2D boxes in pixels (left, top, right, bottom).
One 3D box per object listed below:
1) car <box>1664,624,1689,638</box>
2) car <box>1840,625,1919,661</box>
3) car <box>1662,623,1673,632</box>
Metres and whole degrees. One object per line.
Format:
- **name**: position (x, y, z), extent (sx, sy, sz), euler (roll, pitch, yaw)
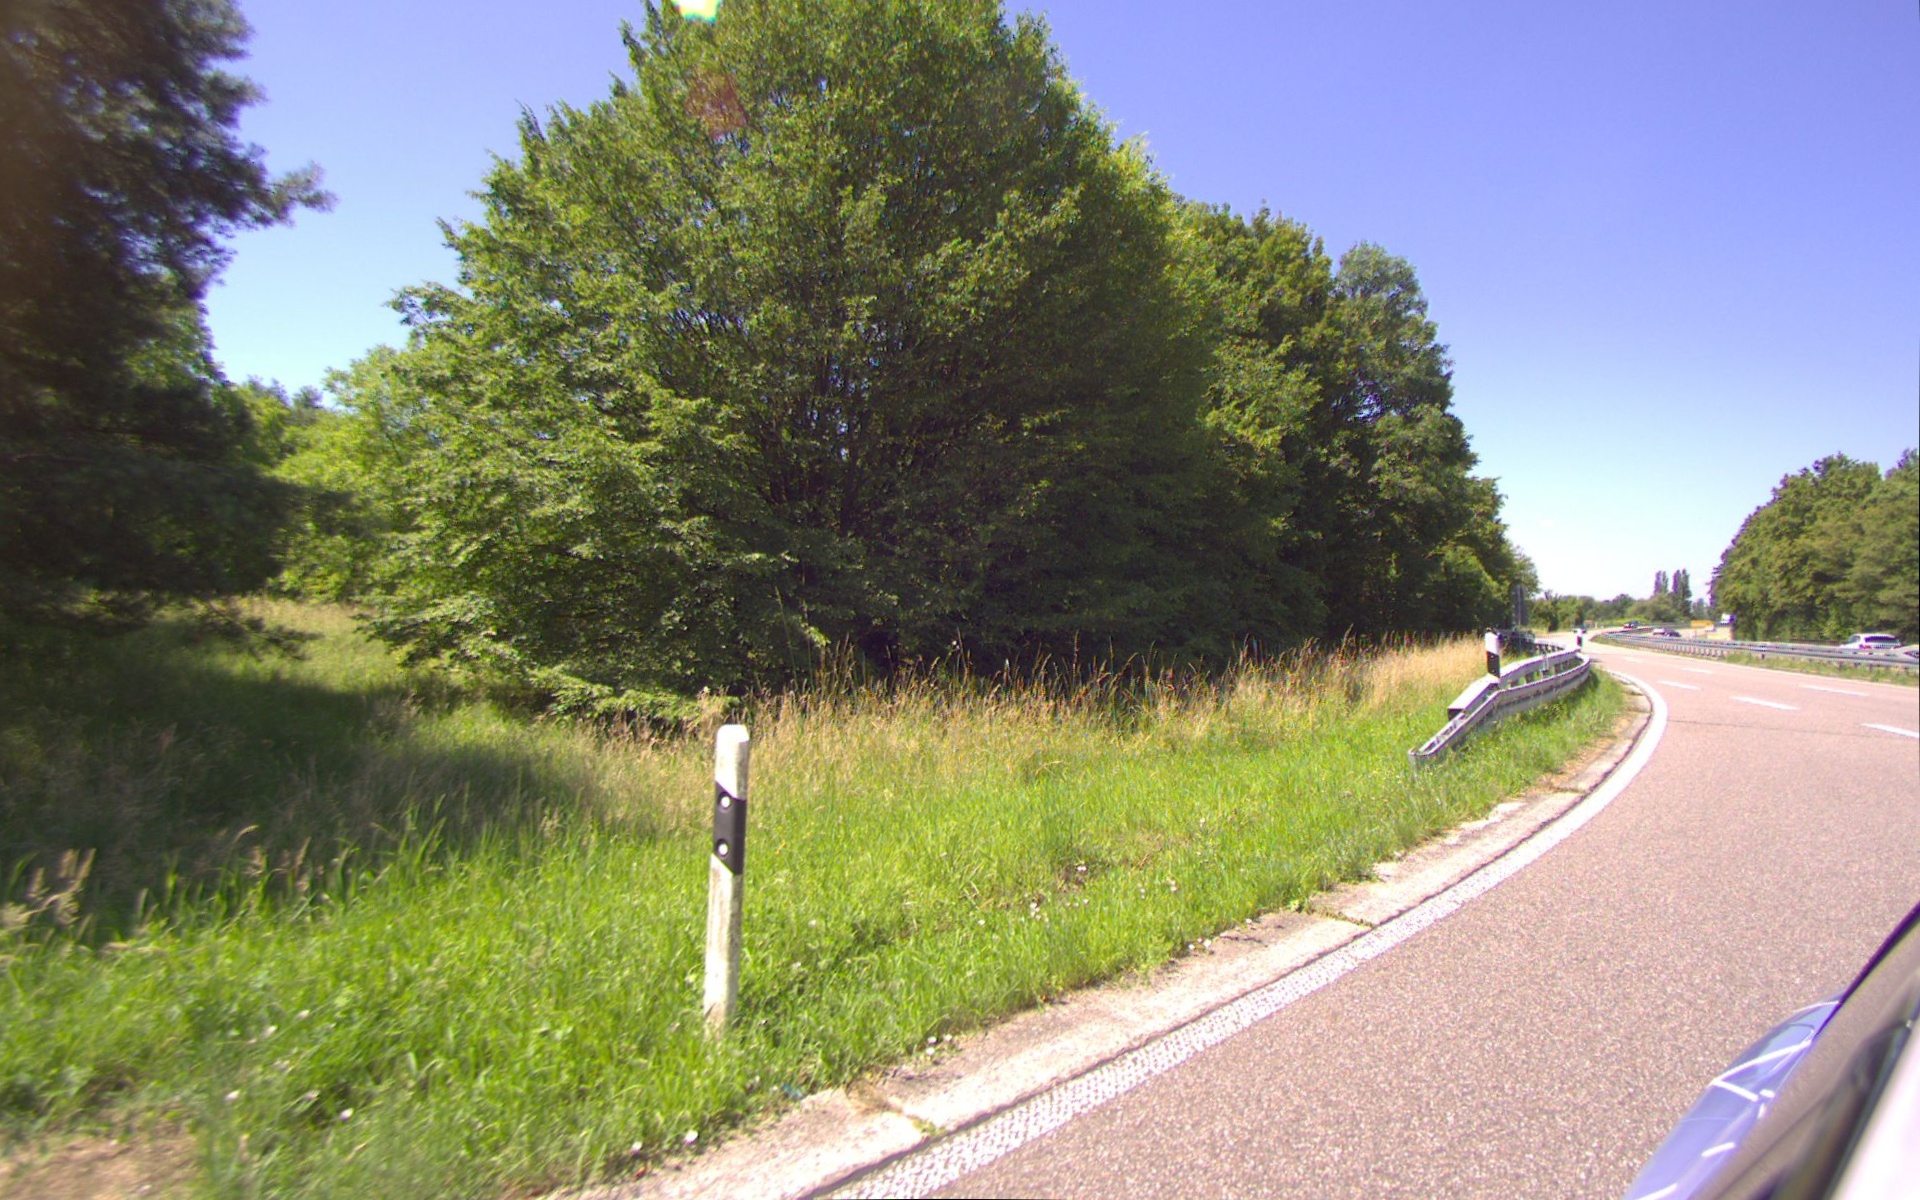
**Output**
- **car**: position (85.377, 3.681, 120.569), extent (1.745, 1.548, 4.639), euler (2, 0, 27)
- **car**: position (45.304, 2.075, 49.756), extent (1.742, 1.593, 4.378), euler (2, 0, 23)
- **car**: position (134.868, 5.247, 192.862), extent (1.646, 1.627, 4.165), euler (2, 0, 35)
